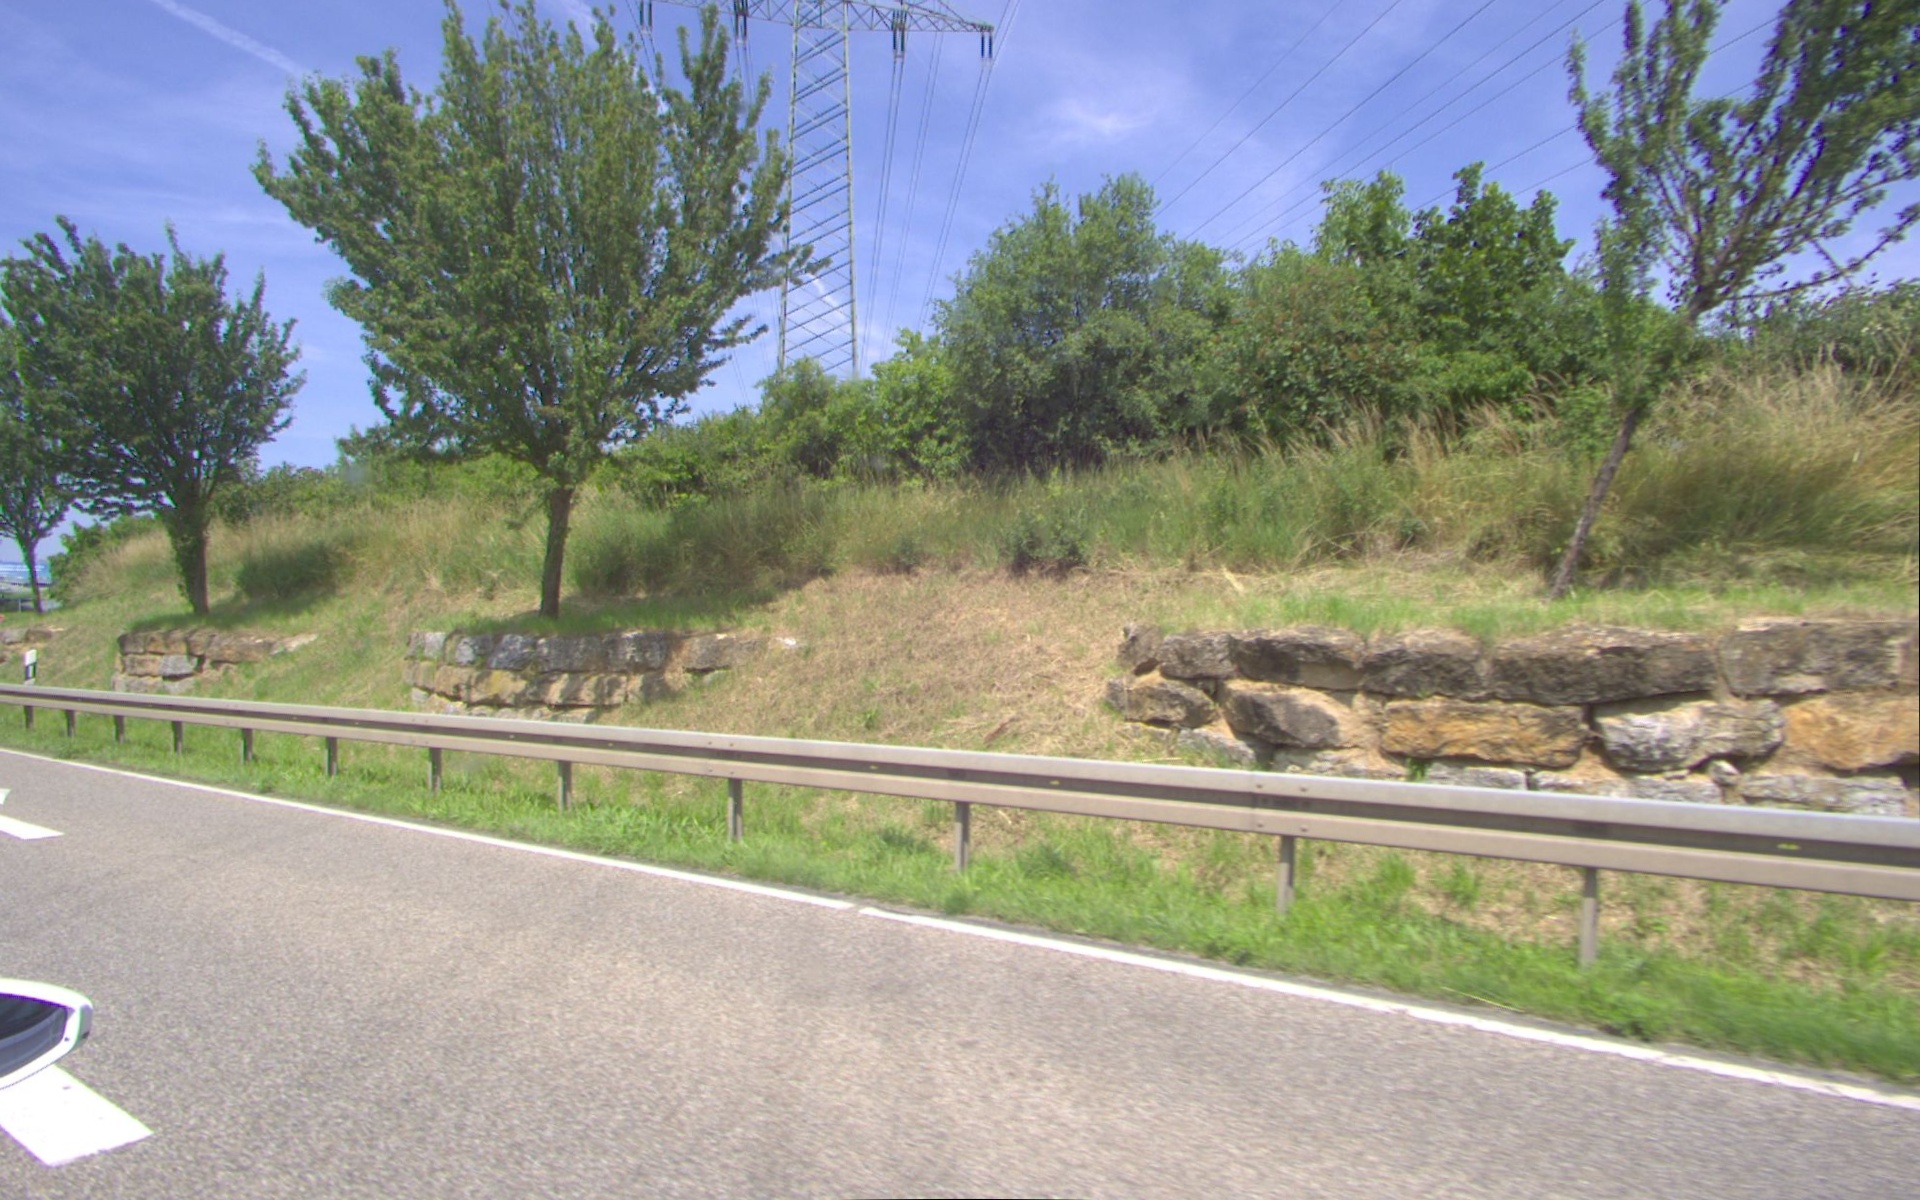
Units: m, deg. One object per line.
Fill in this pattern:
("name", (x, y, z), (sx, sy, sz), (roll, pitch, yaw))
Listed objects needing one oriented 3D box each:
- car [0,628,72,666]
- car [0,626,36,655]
("car", (-42.614, 2.117, 45.509), (1.770, 1.660, 3.996), (0, -2, -15))
("car", (-52.475, 2.180, 53.439), (1.687, 1.530, 4.361), (-1, -1, 22))
